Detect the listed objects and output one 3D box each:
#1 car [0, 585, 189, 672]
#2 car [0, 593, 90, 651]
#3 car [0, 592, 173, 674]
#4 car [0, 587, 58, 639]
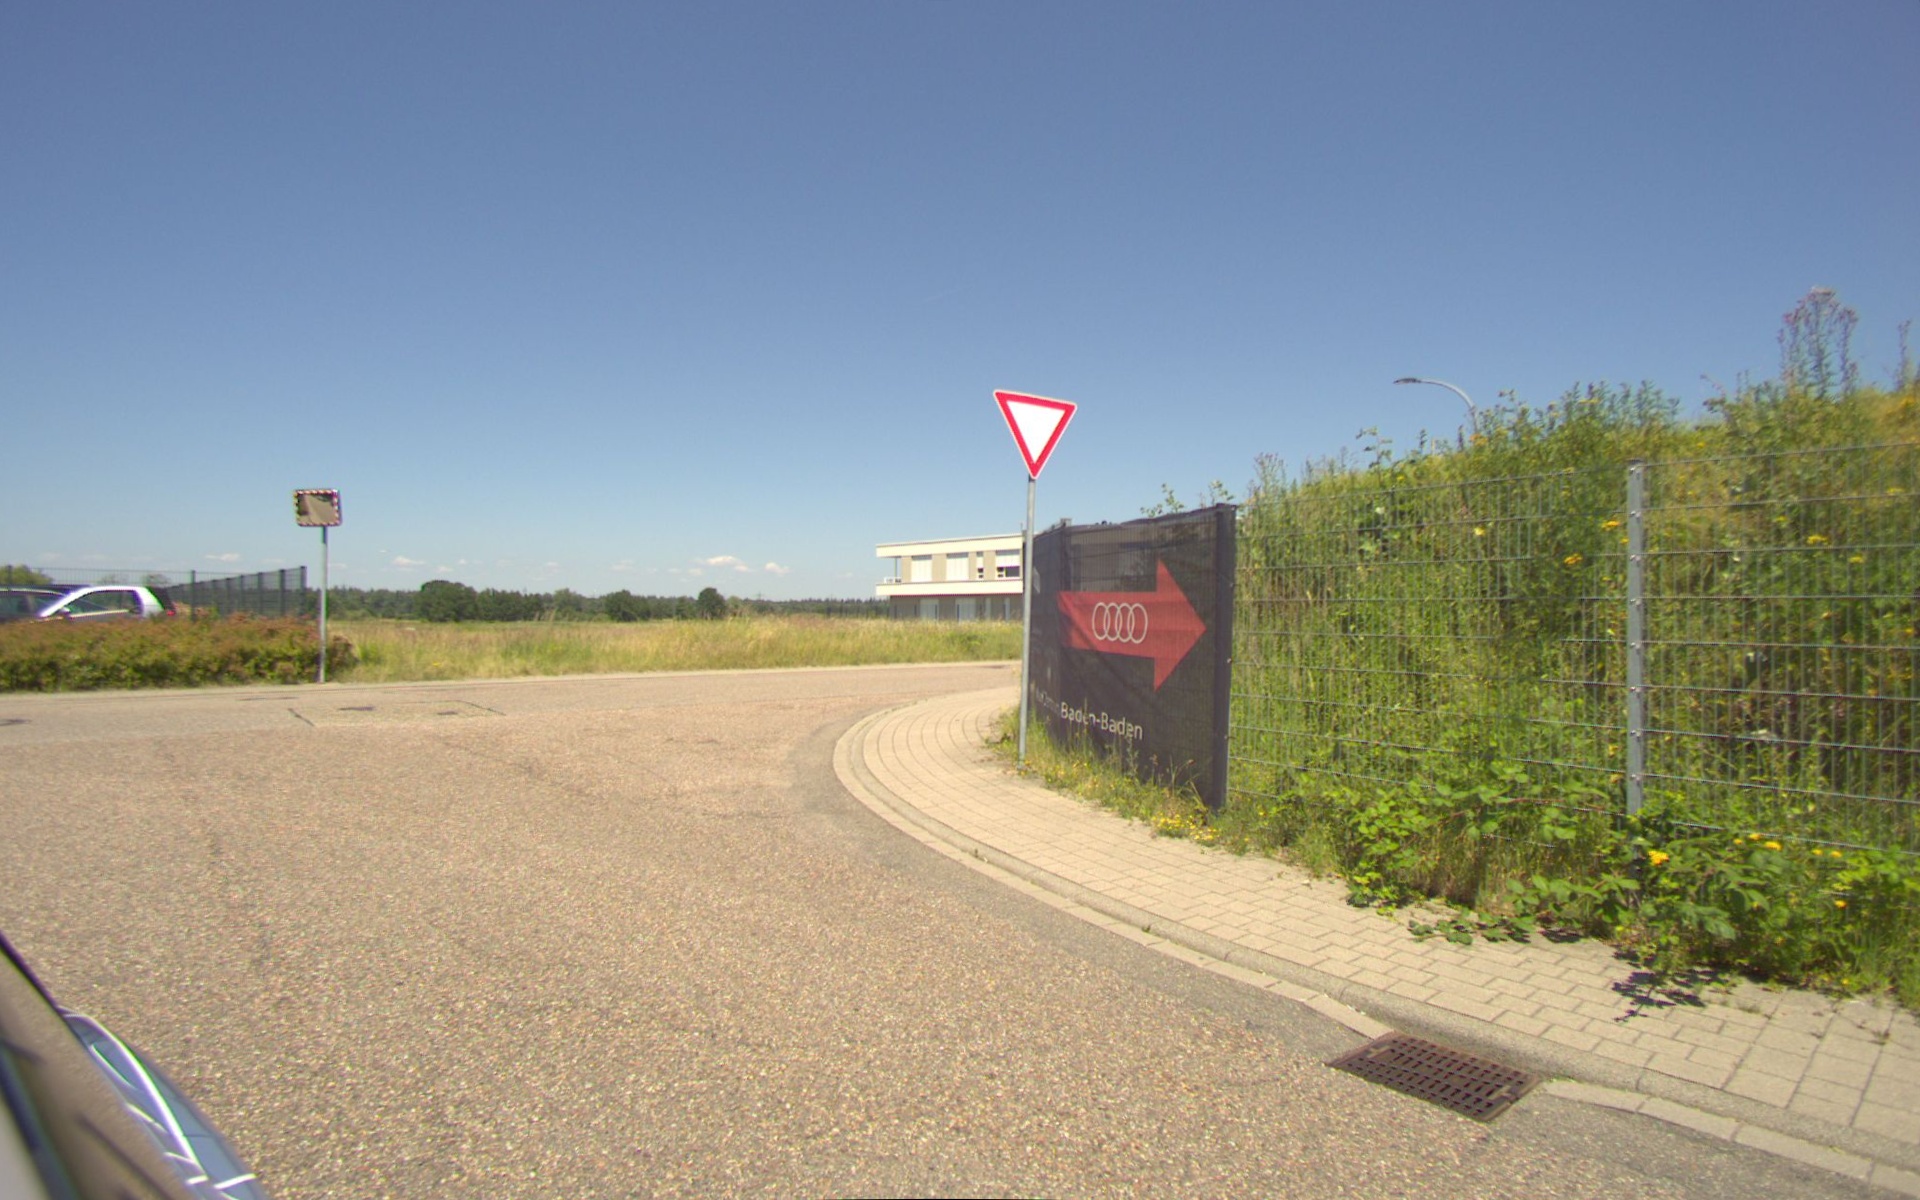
[{"bbox_3d":[-16.583,0.542,19.134,1.706,1.532,2.954,-1,-2,44],"label":"car"},{"bbox_3d":[-27.364,0.618,28.694,1.678,1.618,3.942,-1,-2,44],"label":"car"},{"bbox_3d":[-18.396,0.647,20.250,1.832,1.553,3.942,-1,-2,44],"label":"car"},{"bbox_3d":[-30.838,0.370,31.520,1.678,1.618,3.942,0,-3,44],"label":"car"}]
